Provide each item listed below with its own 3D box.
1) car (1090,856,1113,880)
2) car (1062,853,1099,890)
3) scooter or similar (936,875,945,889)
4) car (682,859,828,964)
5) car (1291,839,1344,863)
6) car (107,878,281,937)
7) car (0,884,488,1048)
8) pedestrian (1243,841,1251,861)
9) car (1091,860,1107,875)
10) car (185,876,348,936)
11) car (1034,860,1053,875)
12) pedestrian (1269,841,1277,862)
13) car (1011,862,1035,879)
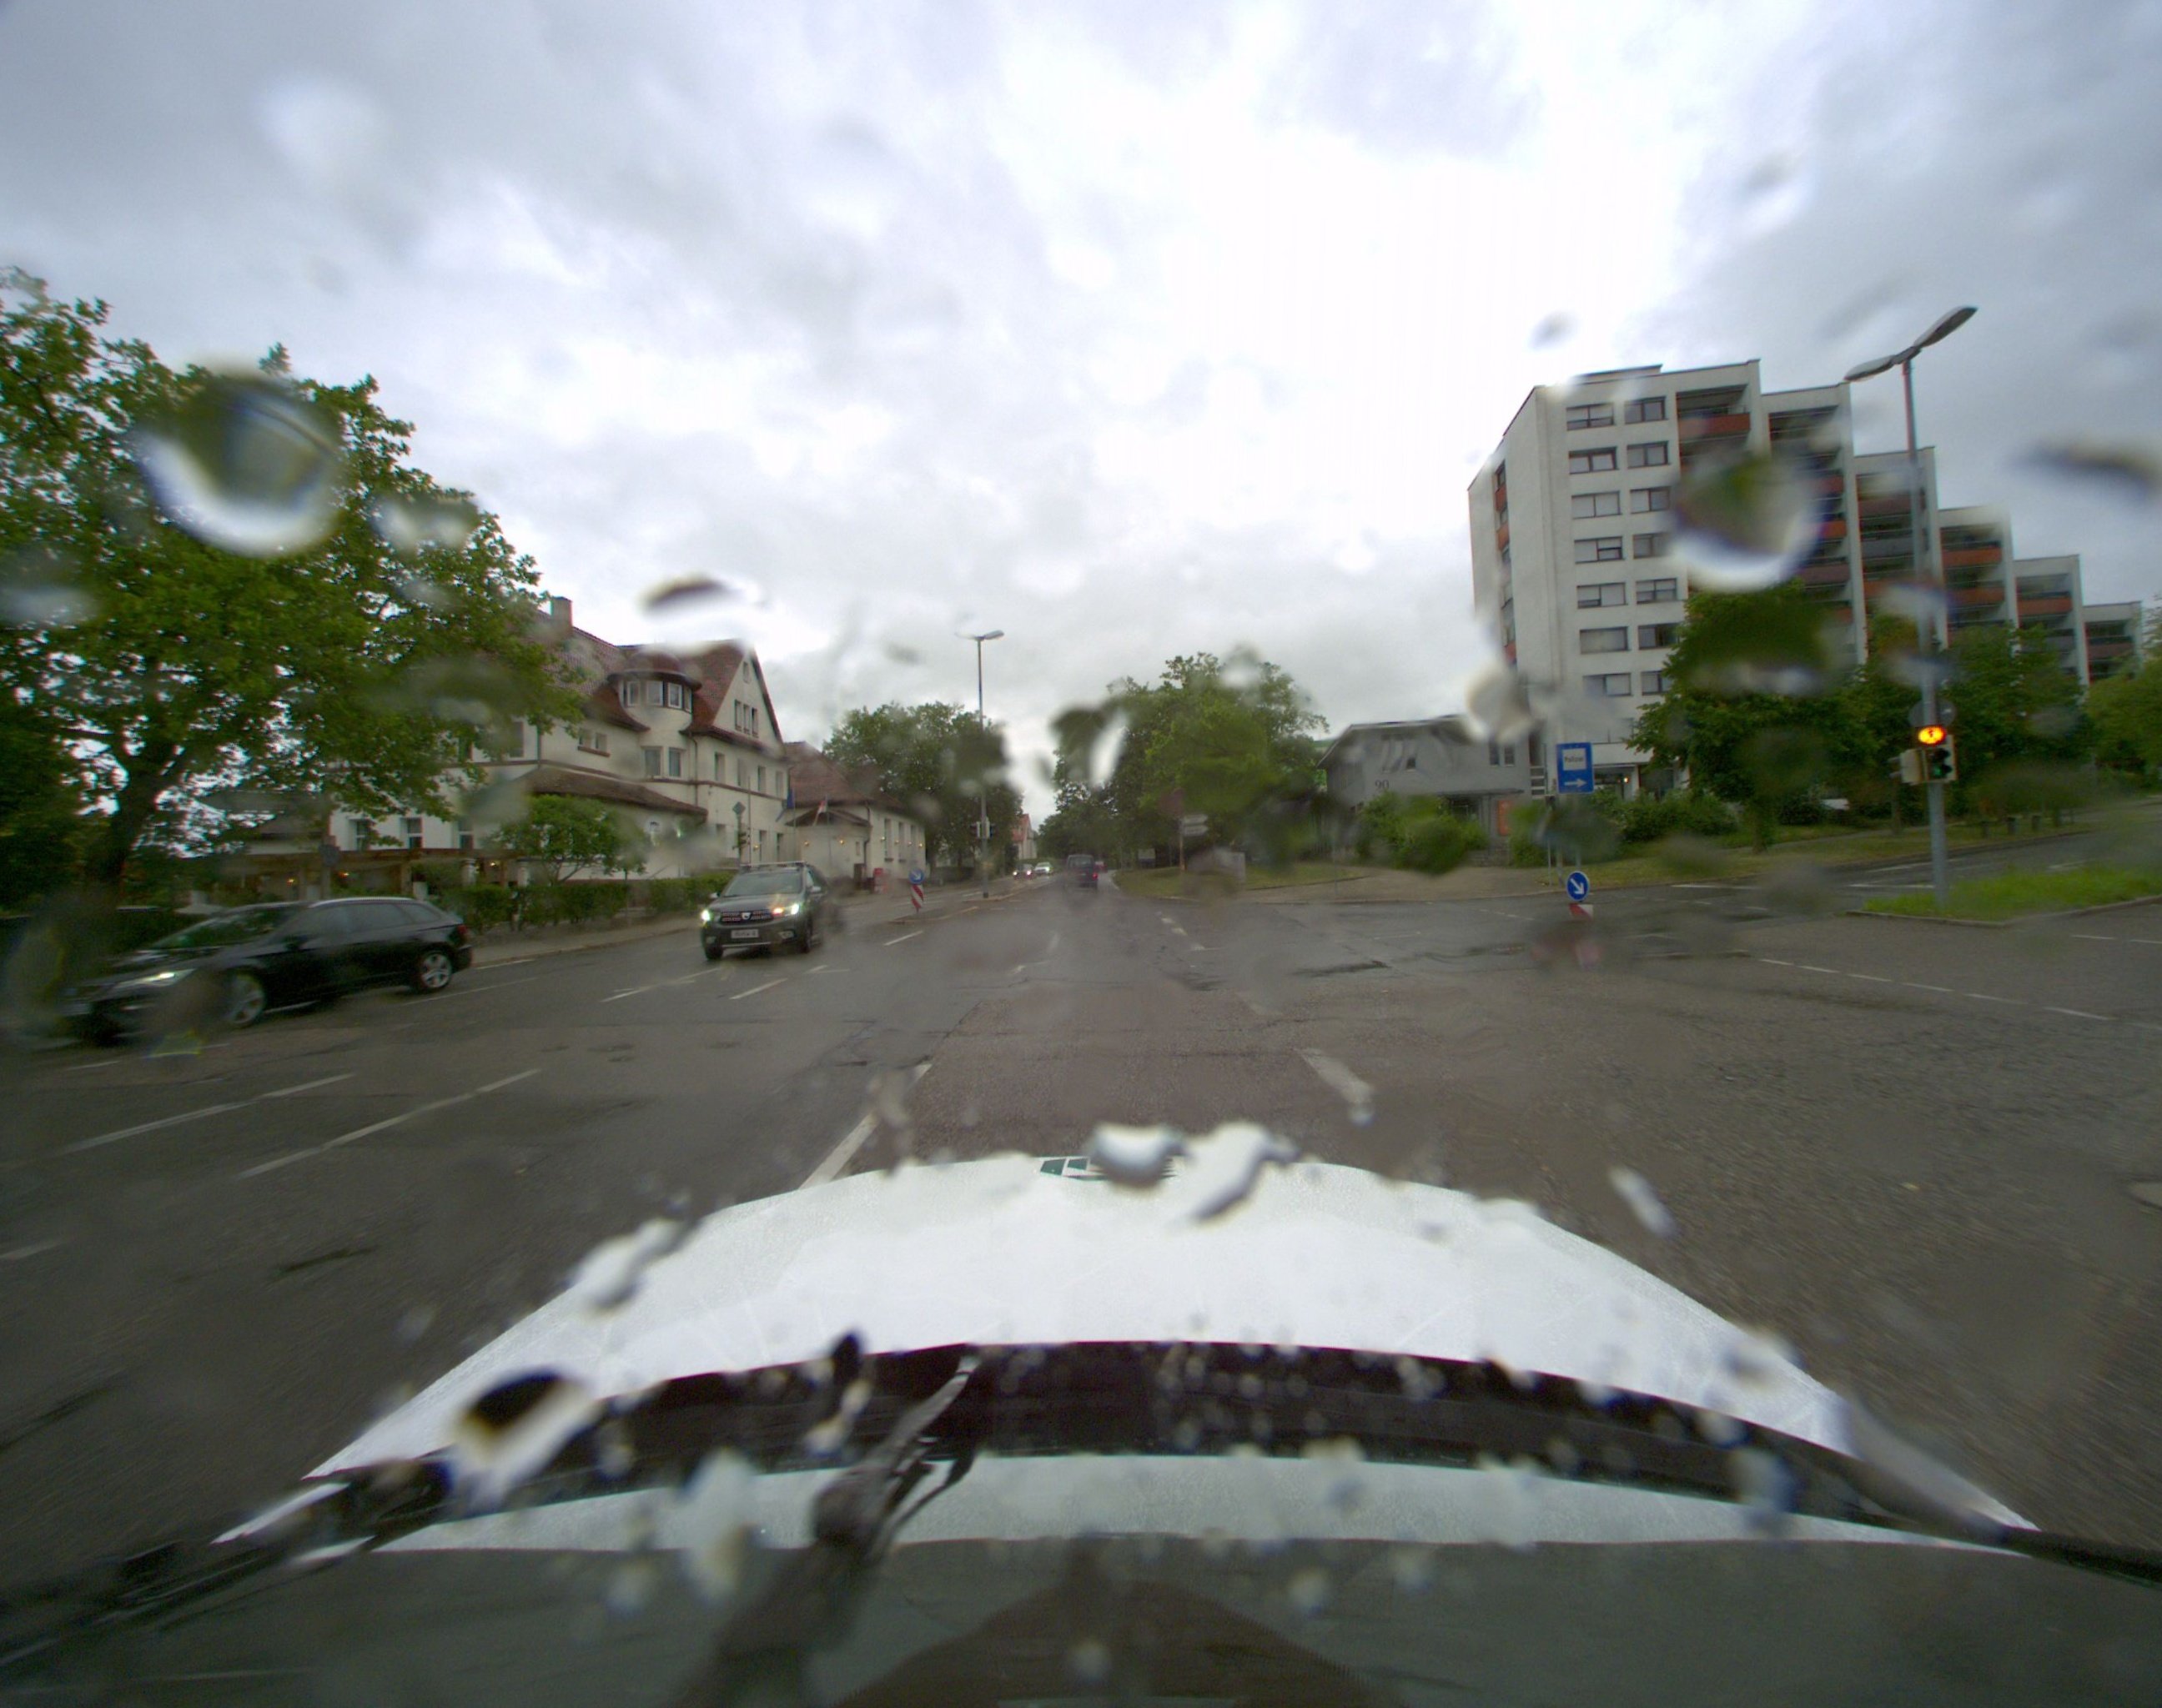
[{"bbox_3d":[1.599,1.135,64.342,1.699,1.809,3.684,0,-1,1],"label":"car"},{"bbox_3d":[0.004,0.891,42.246,1.806,1.809,3.756,0,-1,1],"label":"car"},{"bbox_3d":[-10.403,2.075,60.232,0.388,1.064,1.410,0,-1,-1],"label":"scooter or similar"},{"bbox_3d":[-5.869,0.928,15.187,1.902,1.577,4.480,-2,0,-14],"label":"car"},{"bbox_3d":[18.920,-0.229,65.273,3.961,1.816,2.006,0,-1,11],"label":"car"},{"bbox_3d":[-32.528,1.898,30.060,1.987,2.014,3.998,0,-1,0],"label":"car"},{"bbox_3d":[-10.219,1.219,10.441,1.902,1.427,4.416,-2,0,1],"label":"car"},{"bbox_3d":[14.983,-0.244,73.401,0.555,1.763,0.728,0,-1,-1],"label":"pedestrian"},{"bbox_3d":[2.289,1.677,102.026,1.986,1.882,4.001,0,-1,1],"label":"car"},{"bbox_3d":[-30.023,1.861,30.224,1.987,2.014,3.998,0,-1,0],"label":"car"},{"bbox_3d":[-4.314,1.529,94.569,1.823,1.671,4.052,-2,0,2],"label":"car"},{"bbox_3d":[14.912,-0.183,63.193,0.597,1.617,0.527,0,-1,10],"label":"pedestrian"},{"bbox_3d":[-5.506,1.558,77.886,1.786,1.527,4.210,-2,0,2],"label":"car"}]
